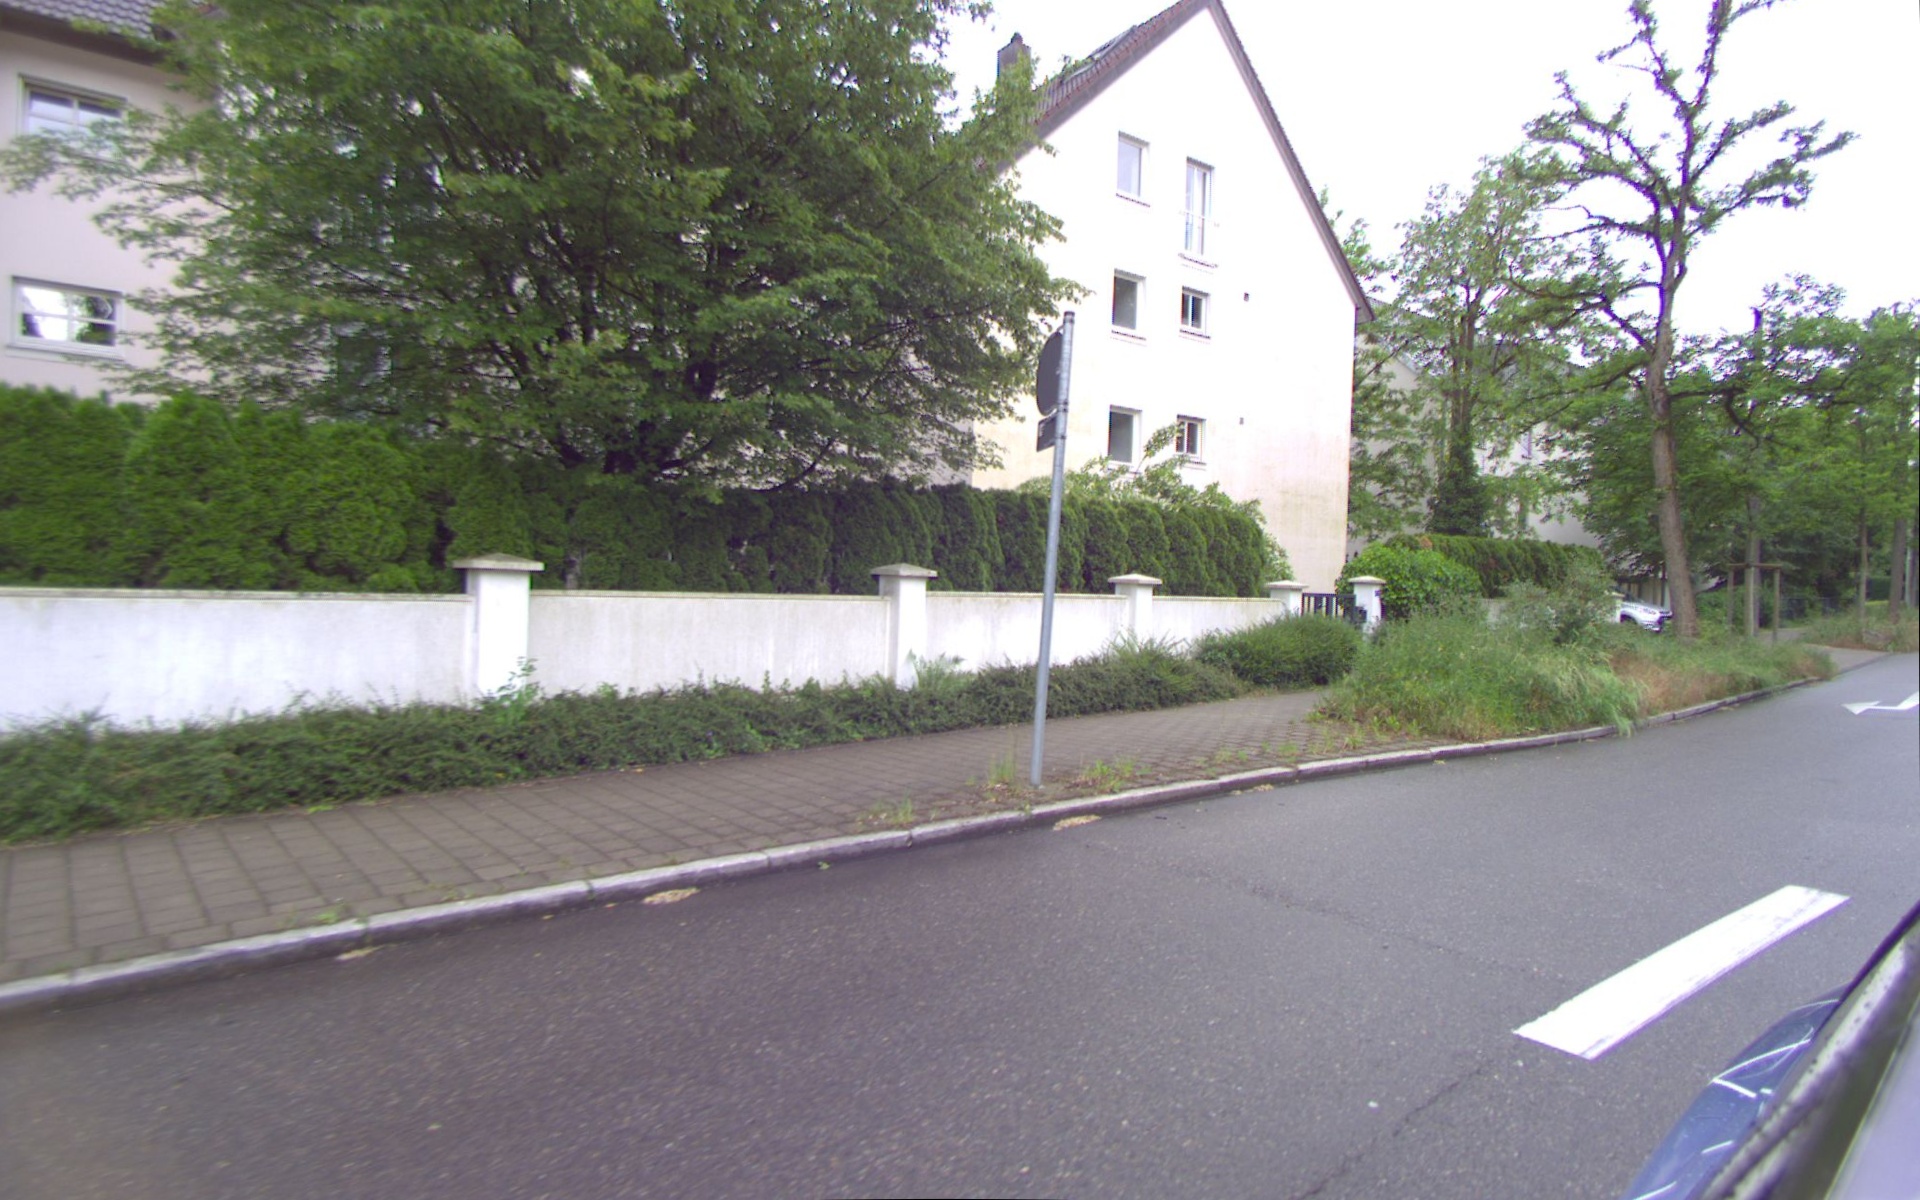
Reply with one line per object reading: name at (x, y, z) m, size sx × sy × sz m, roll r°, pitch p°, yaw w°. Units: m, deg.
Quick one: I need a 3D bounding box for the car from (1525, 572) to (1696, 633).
car at (21.056, 0.028, 32.943) m, size 1.837 × 1.840 × 4.322 m, roll 0°, pitch 1°, yaw -31°
